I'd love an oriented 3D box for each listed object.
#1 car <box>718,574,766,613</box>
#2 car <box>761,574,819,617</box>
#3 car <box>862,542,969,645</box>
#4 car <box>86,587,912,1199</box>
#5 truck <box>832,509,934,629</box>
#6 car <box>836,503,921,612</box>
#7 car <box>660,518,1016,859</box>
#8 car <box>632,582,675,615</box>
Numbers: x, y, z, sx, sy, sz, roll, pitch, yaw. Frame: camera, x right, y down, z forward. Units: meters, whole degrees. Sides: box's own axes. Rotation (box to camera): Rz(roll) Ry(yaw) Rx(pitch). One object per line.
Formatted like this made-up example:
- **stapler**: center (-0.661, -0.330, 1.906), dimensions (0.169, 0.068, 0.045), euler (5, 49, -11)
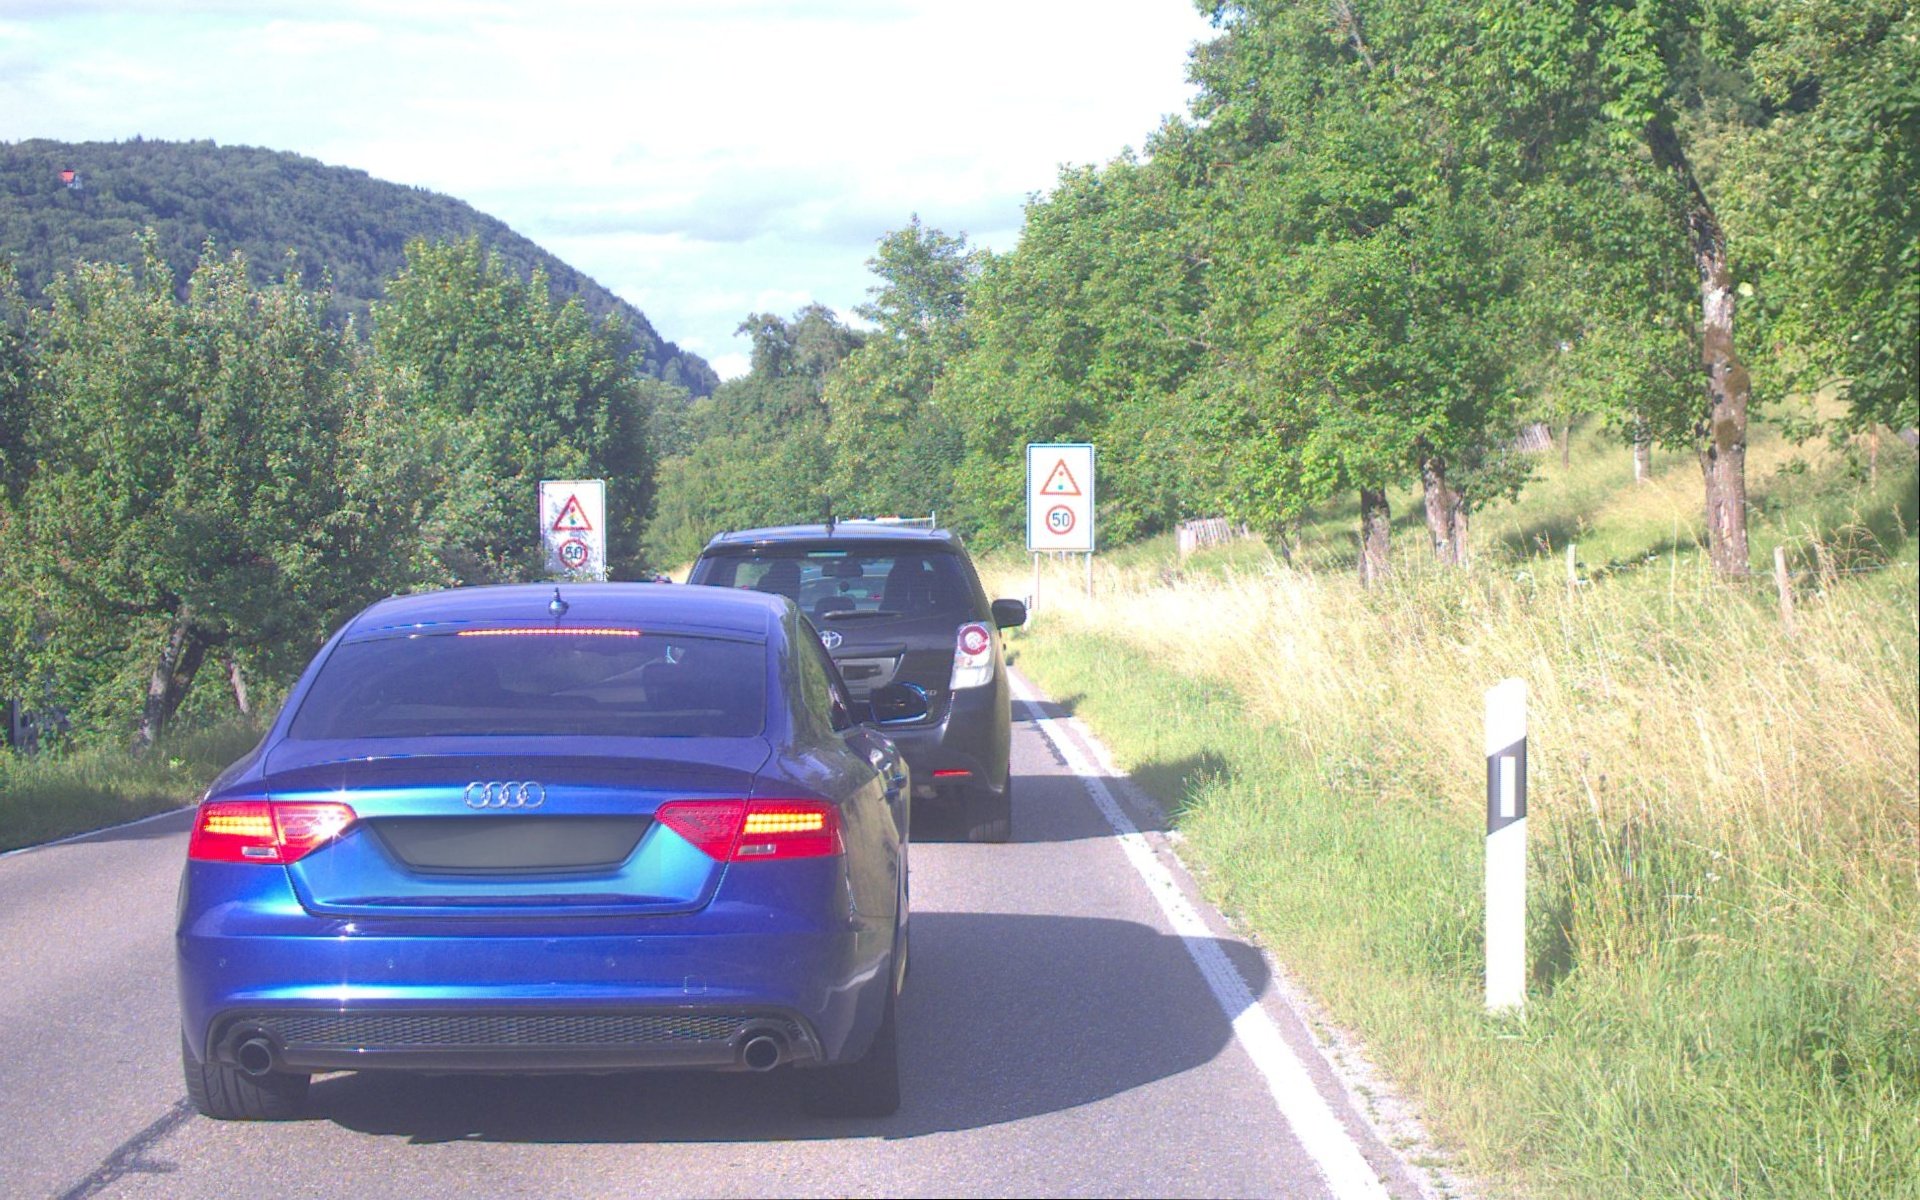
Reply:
- **car**: center (-8.881, -0.265, 139.668), dimensions (1.558, 1.490, 3.779), euler (1, 1, -9)
- **car**: center (-6.194, -0.173, 124.855), dimensions (1.747, 1.490, 3.779), euler (1, 1, -8)
- **car**: center (-0.723, -0.135, 55.945), dimensions (1.692, 1.618, 3.789), euler (0, 1, -1)
- **car**: center (-1.063, 0.665, 9.816), dimensions (1.805, 1.377, 4.215), euler (0, 1, 0)
- **truck**: center (-1.586, -0.654, 70.570), dimensions (1.950, 2.337, 5.094), euler (1, 1, -1)
- **car**: center (-1.935, -1.008, 80.765), dimensions (1.792, 2.445, 3.920), euler (1, 1, -3)
- **car**: center (-0.604, 0.387, 18.249), dimensions (1.692, 1.618, 3.789), euler (0, 1, -1)
- **car**: center (-14.954, -0.081, 167.773), dimensions (1.558, 1.490, 3.779), euler (1, 1, -13)
